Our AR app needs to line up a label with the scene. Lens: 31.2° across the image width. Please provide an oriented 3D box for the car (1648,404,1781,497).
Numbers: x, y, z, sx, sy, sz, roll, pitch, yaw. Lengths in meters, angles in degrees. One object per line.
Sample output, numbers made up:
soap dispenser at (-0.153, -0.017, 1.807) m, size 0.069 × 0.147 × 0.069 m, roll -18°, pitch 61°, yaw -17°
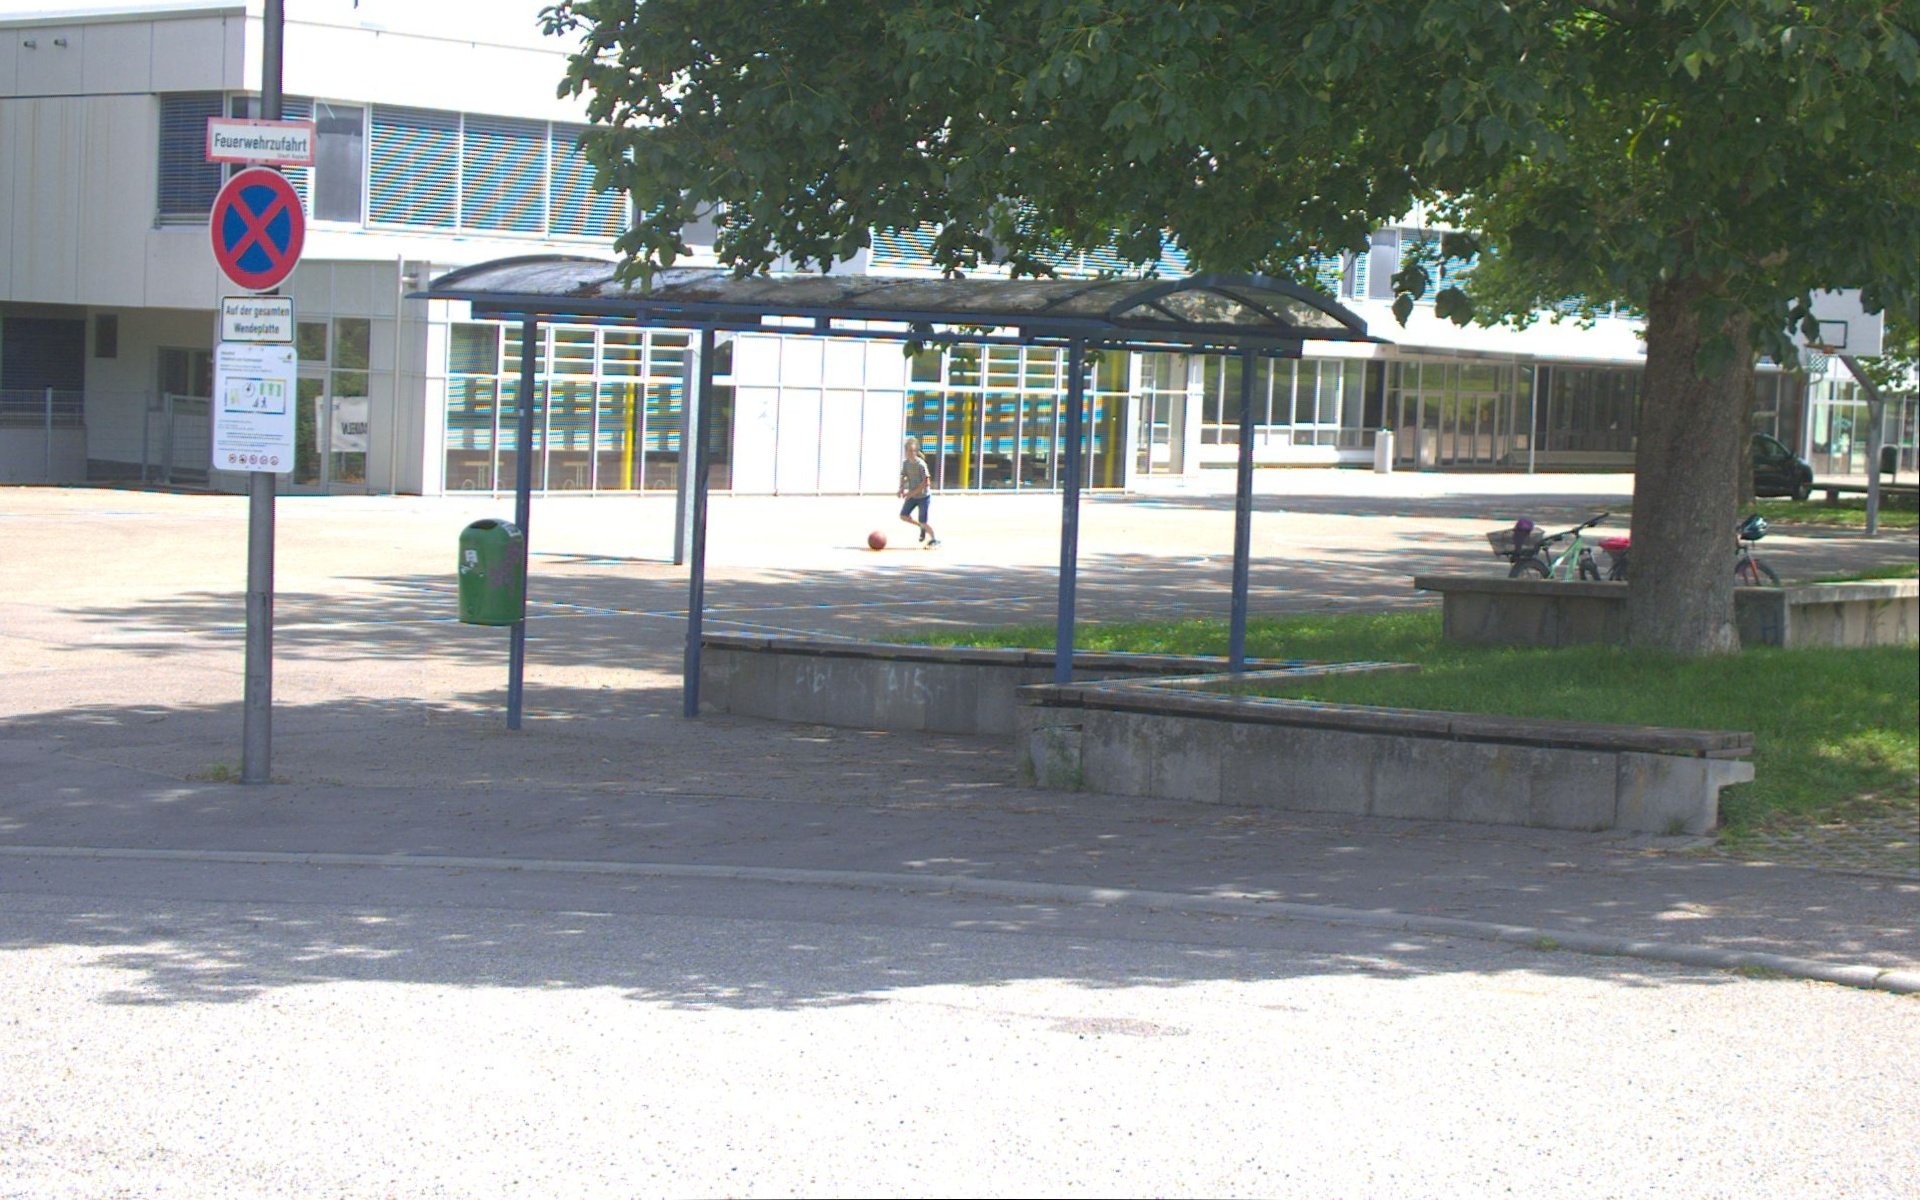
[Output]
car at (15.559, -3.068, 70.815) m, size 1.694 × 1.828 × 3.405 m, roll 3°, pitch 3°, yaw 30°

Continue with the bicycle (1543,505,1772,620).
bicycle at (6.695, -0.369, 33.019) m, size 2.065 × 1.035 × 0.571 m, roll 2°, pitch 3°, yaw 24°

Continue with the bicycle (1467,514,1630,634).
bicycle at (5.402, -0.252, 31.482) m, size 0.596 × 1.035 × 1.888 m, roll 3°, pitch 3°, yaw 39°

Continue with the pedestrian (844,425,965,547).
pedestrian at (-0.669, -1.370, 41.444) m, size 1.066 × 1.418 × 0.919 m, roll 0°, pitch 4°, yaw -37°
